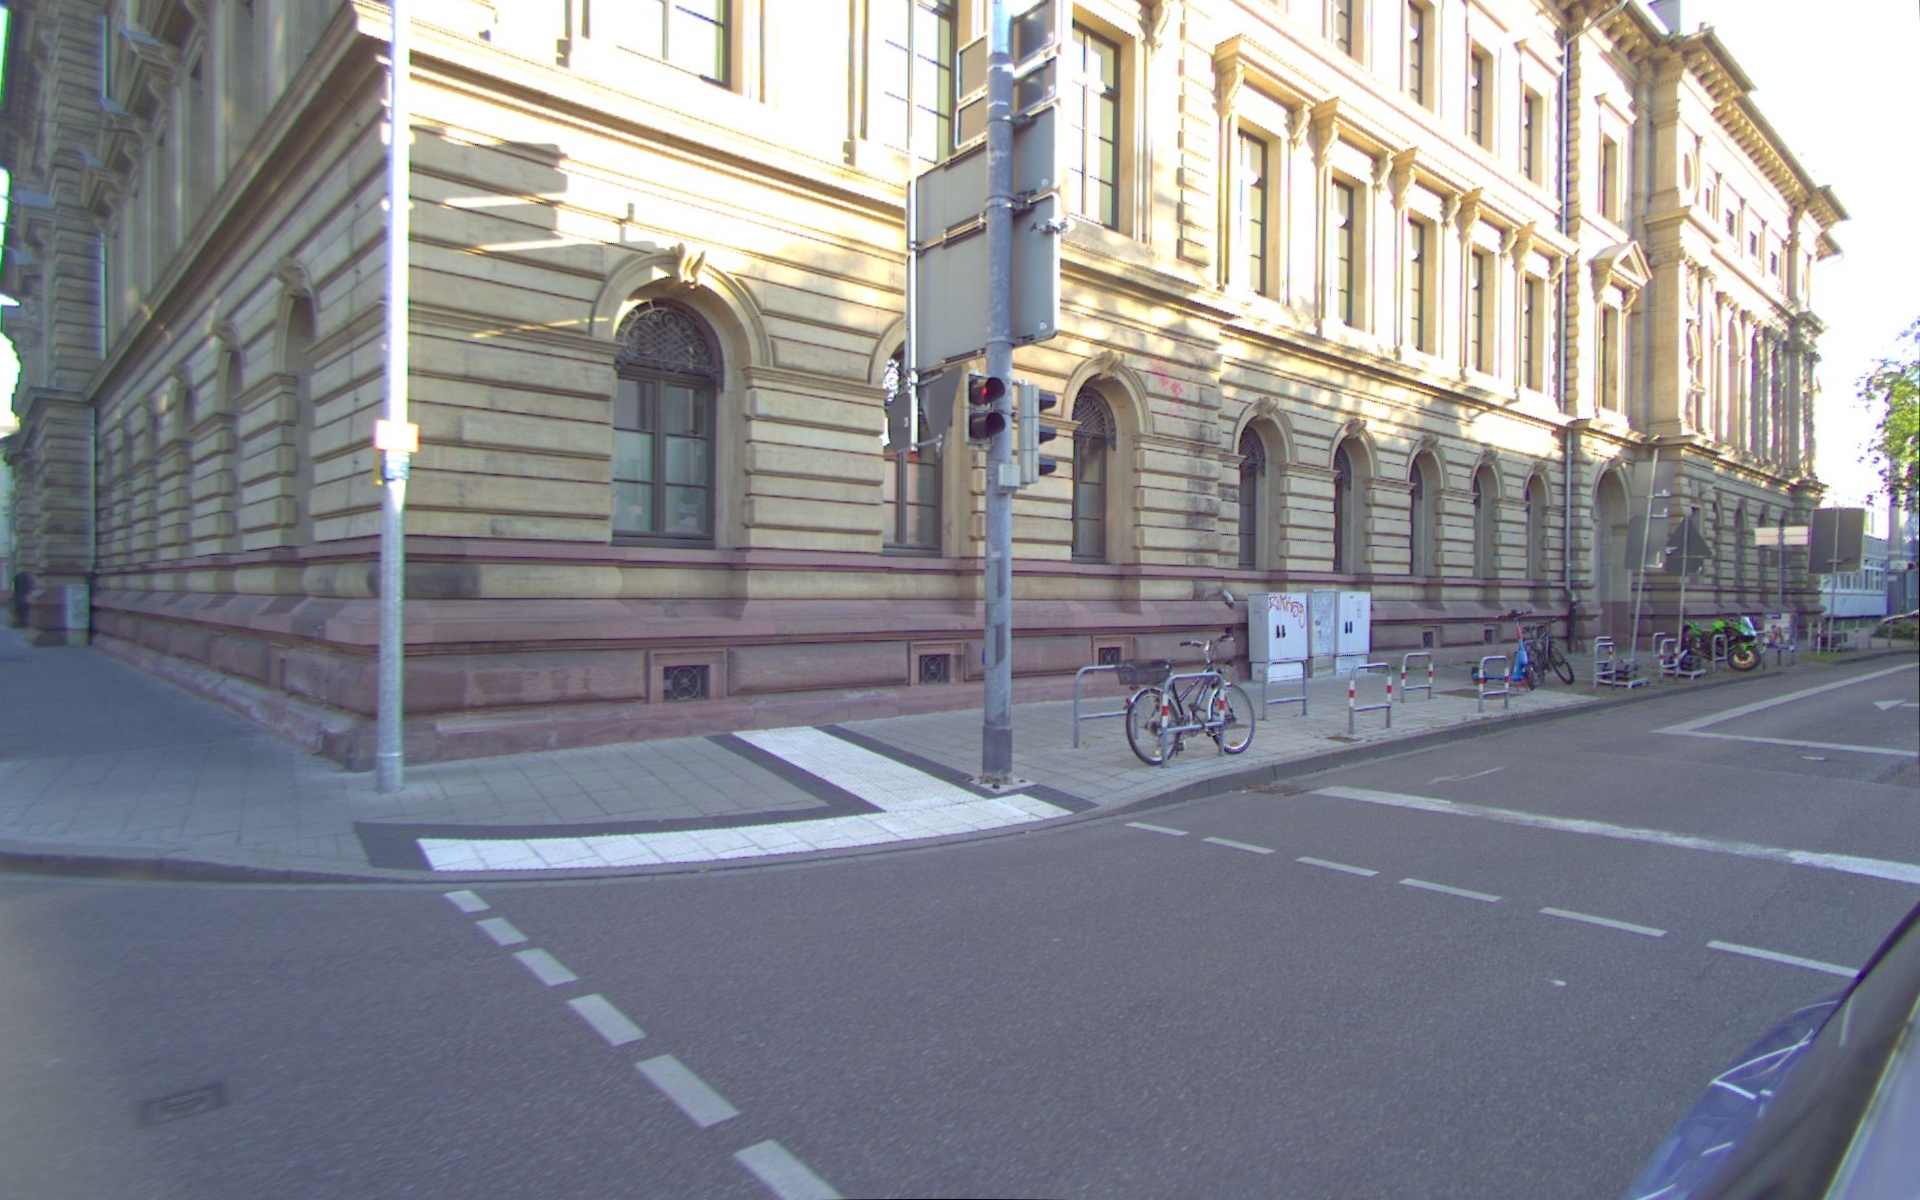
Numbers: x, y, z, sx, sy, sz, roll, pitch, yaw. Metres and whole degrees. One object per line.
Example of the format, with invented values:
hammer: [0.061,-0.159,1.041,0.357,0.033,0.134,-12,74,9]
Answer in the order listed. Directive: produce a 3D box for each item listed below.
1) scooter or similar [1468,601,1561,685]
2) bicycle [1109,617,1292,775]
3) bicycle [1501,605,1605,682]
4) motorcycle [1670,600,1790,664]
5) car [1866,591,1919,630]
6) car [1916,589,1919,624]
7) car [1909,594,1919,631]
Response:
scooter or similar: [8.670,0.646,15.863,0.571,1.210,1.136,0,2,-21]
bicycle: [2.202,0.797,9.105,1.886,1.203,0.583,-2,2,-40]
bicycle: [9.799,0.676,16.704,1.909,1.148,0.829,0,3,-40]
motorcycle: [16.561,0.660,21.849,0.695,1.230,2.109,1,2,-10]
car: [39.557,0.483,40.774,1.803,1.482,4.363,0,3,-43]
car: [46.718,0.407,46.129,2.019,1.662,4.365,0,3,-42]
car: [42.192,0.624,41.631,1.643,1.513,4.368,0,3,-40]
